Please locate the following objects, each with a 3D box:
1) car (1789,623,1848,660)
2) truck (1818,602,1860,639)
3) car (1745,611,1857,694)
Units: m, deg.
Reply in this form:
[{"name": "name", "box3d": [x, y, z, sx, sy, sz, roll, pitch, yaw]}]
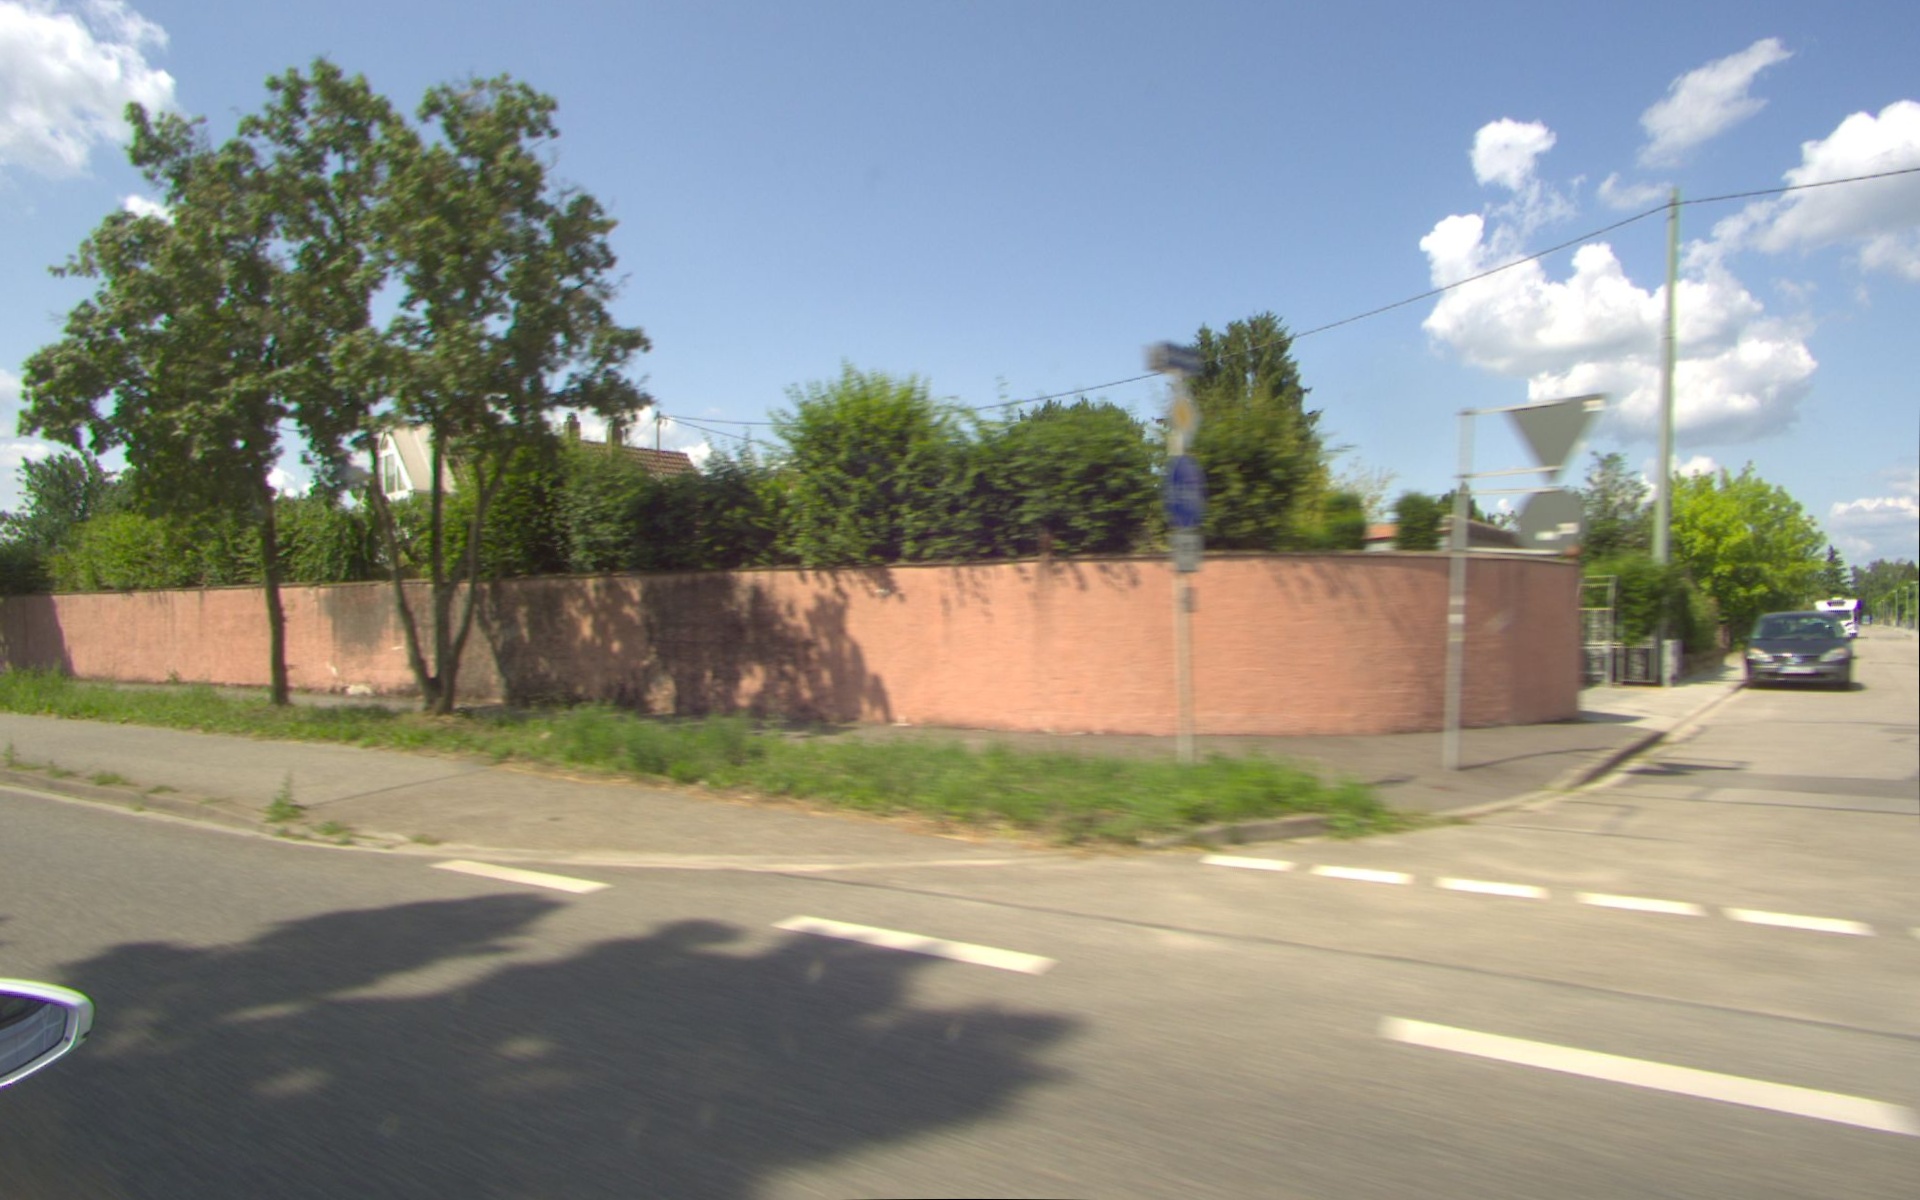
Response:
[{"name": "car", "box3d": [34.486, 1.623, 40.187, 1.703, 1.391, 4.023, -1, -1, 42]}, {"name": "truck", "box3d": [65.251, 1.525, 74.383, 2.254, 2.682, 4.813, -1, -1, 41]}, {"name": "car", "box3d": [18.115, 1.064, 21.524, 1.703, 1.588, 4.244, -1, -1, 42]}]
